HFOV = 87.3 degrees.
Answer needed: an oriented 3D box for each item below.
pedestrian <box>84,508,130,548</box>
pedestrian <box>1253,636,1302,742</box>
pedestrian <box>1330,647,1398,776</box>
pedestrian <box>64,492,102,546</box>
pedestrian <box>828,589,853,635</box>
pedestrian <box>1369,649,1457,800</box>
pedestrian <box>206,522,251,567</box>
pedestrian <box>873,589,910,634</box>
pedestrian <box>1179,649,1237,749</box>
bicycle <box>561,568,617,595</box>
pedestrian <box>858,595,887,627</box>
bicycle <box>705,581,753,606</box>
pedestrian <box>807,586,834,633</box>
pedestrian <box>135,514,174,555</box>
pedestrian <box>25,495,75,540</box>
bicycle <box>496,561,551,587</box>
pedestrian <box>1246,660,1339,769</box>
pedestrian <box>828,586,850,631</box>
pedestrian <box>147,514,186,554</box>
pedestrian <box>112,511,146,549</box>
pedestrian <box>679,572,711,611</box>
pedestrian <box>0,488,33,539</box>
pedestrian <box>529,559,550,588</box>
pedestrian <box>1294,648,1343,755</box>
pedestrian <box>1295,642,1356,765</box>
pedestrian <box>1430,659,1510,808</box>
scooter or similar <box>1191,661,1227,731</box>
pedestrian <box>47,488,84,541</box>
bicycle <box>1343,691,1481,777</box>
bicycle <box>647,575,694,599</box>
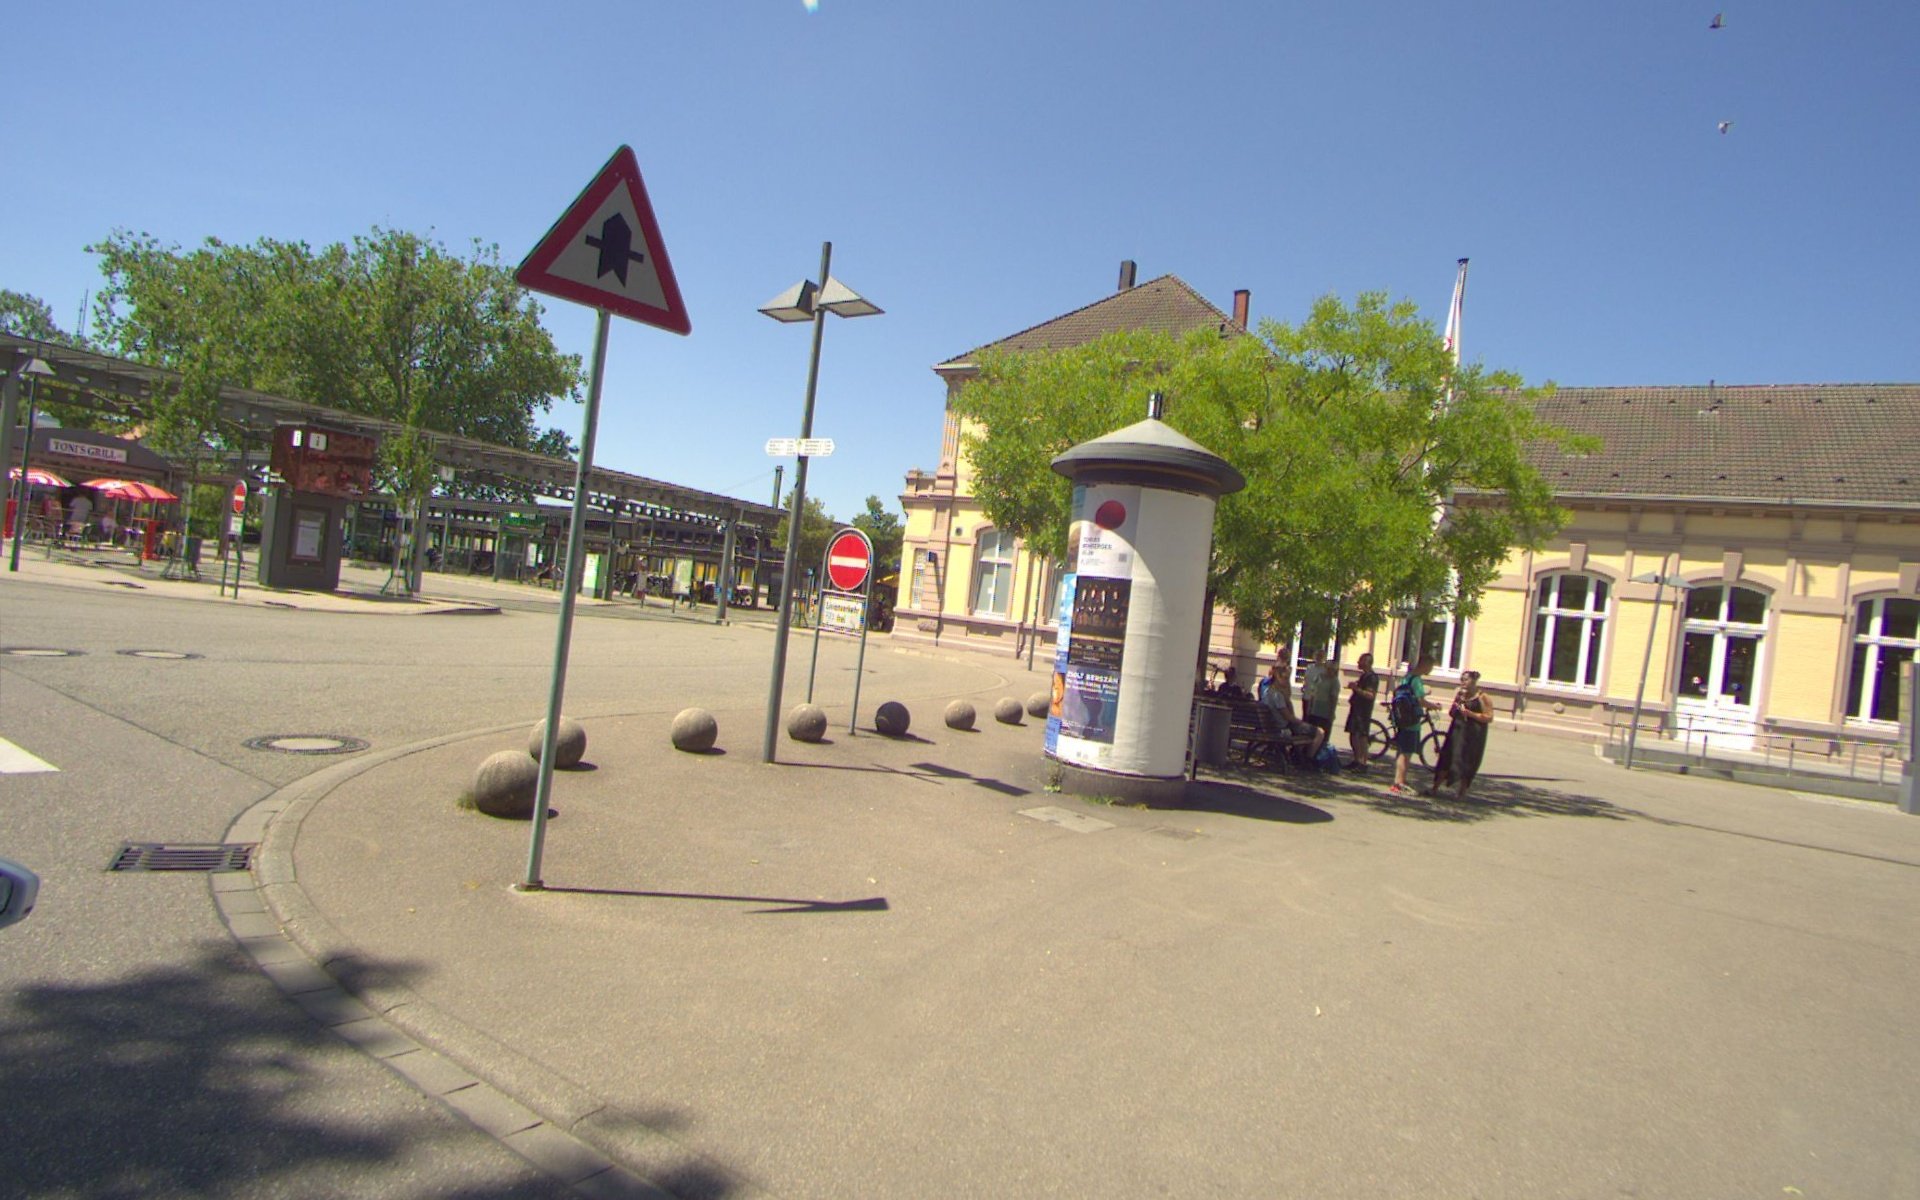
[{"bbox_3d":[-28.784,-2.420,33.946,0.676,1.175,0.895,7,0,-2],"label":"pedestrian"},{"bbox_3d":[5.433,1.508,17.195,0.576,1.706,0.555,7,0,21],"label":"pedestrian"},{"bbox_3d":[5.863,1.603,14.622,0.588,1.761,0.585,7,0,7],"label":"pedestrian"},{"bbox_3d":[-30.416,-2.819,34.890,0.696,1.759,0.687,6,0,33],"label":"pedestrian"},{"bbox_3d":[-4.949,0.501,41.724,0.626,1.831,0.590,6,1,-36],"label":"pedestrian"},{"bbox_3d":[5.734,1.558,12.774,0.575,1.785,0.693,7,0,-3],"label":"pedestrian"},{"bbox_3d":[-23.209,-1.757,31.913,0.881,1.293,0.845,7,0,37],"label":"pedestrian"},{"bbox_3d":[-3.049,0.519,44.834,1.064,1.869,1.081,7,0,31],"label":"pedestrian"},{"bbox_3d":[3.709,1.466,15.074,0.588,1.381,0.599,7,1,5],"label":"pedestrian"},{"bbox_3d":[-19.578,-0.971,53.197,0.798,1.015,2.794,6,-3,31],"label":"bicycle"},{"bbox_3d":[-4.002,0.519,46.133,0.958,1.371,1.052,5,1,12],"label":"pedestrian"},{"bbox_3d":[-13.340,-0.369,58.242,0.951,1.015,2.794,6,-3,31],"label":"bicycle"},{"bbox_3d":[-5.732,0.406,41.370,0.684,1.831,0.625,6,1,-36],"label":"pedestrian"},{"bbox_3d":[-25.468,-2.064,31.813,0.881,1.175,0.686,7,0,37],"label":"pedestrian"},{"bbox_3d":[-29.631,-2.678,32.767,0.676,1.328,0.894,7,0,-2],"label":"pedestrian"},{"bbox_3d":[-24.425,-1.455,56.356,0.798,1.015,2.794,6,-3,31],"label":"bicycle"},{"bbox_3d":[4.832,1.641,14.679,0.926,1.403,0.913,7,0,3],"label":"pedestrian"},{"bbox_3d":[-5.091,0.367,42.412,0.546,1.831,0.493,6,1,-37],"label":"pedestrian"},{"bbox_3d":[-27.706,-2.304,35.114,0.725,1.219,0.760,6,-2,33],"label":"pedestrian"},{"bbox_3d":[-29.711,-2.508,35.976,0.582,1.219,0.656,6,-2,32],"label":"pedestrian"},{"bbox_3d":[-12.137,-0.392,46.021,0.841,1.610,0.924,7,0,27],"label":"pedestrian"},{"bbox_3d":[-29.104,-2.660,30.685,0.676,1.435,0.894,7,0,-4],"label":"pedestrian"},{"bbox_3d":[-21.326,-1.354,51.068,0.665,1.413,0.625,6,1,33],"label":"pedestrian"},{"bbox_3d":[6.045,1.690,16.982,0.580,1.706,0.619,7,0,21],"label":"pedestrian"},{"bbox_3d":[5.552,1.558,15.310,0.560,1.761,0.512,7,0,4],"label":"pedestrian"},{"bbox_3d":[6.456,1.666,12.760,0.537,1.761,0.628,7,0,7],"label":"pedestrian"},{"bbox_3d":[4.331,1.656,17.463,0.289,1.153,1.027,7,0,25],"label":"scooter or similar"},{"bbox_3d":[-31.690,-3.037,35.625,0.696,1.759,0.687,7,0,33],"label":"pedestrian"},{"bbox_3d":[7.332,2.151,16.367,1.916,1.073,0.421,6,0,31],"label":"bicycle"},{"bbox_3d":[-17.707,-0.781,61.518,0.951,1.015,2.794,6,-3,31],"label":"bicycle"}]
